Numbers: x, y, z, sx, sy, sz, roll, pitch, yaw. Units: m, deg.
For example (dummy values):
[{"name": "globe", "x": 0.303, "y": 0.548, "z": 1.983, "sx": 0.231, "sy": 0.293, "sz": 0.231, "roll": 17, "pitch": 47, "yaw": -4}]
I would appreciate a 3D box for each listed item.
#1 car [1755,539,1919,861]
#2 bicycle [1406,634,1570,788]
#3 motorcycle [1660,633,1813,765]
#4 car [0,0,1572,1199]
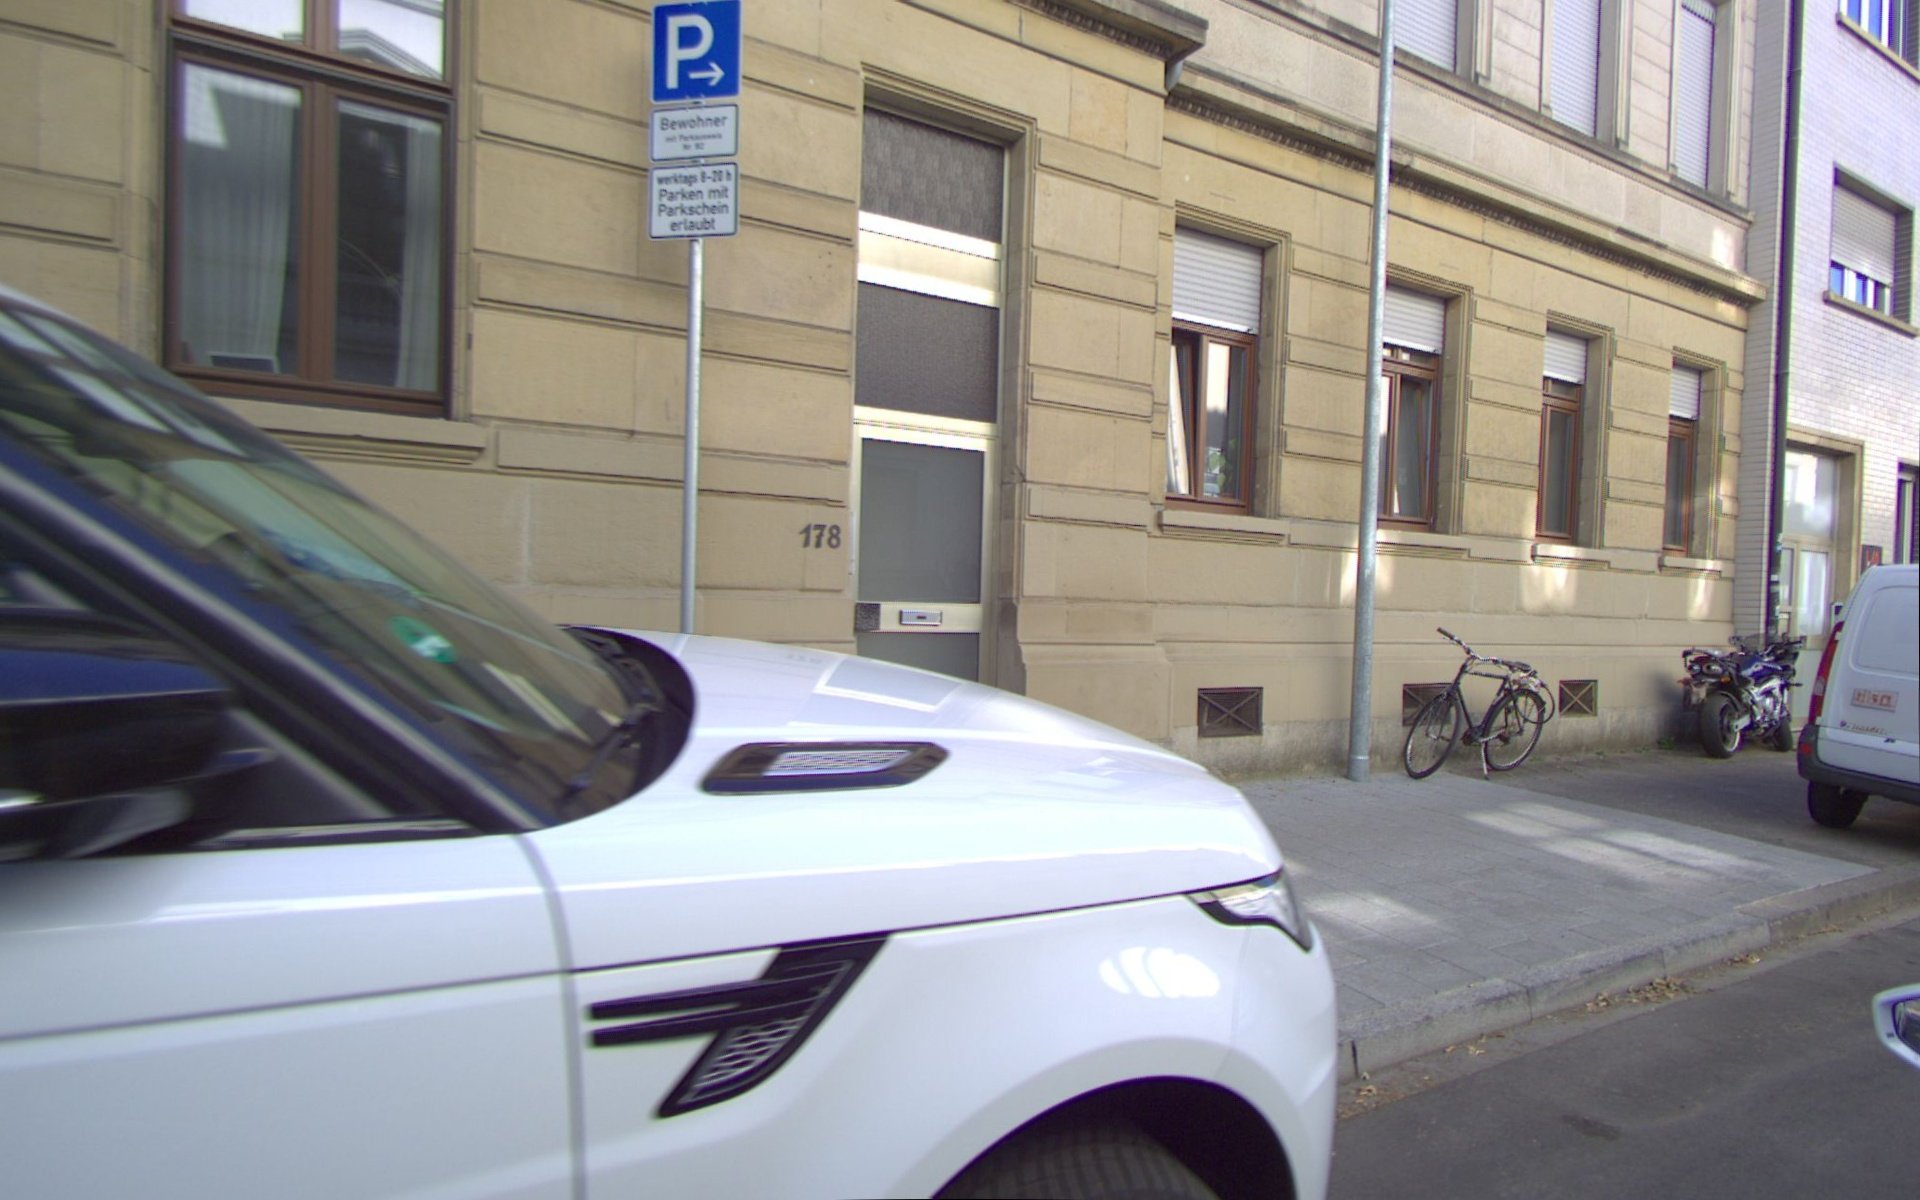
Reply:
[{"name": "car", "x": 7.533, "y": 0.646, "z": 6.911, "sx": 4.041, "sy": 1.902, "sz": 1.736, "roll": 1, "pitch": 4, "yaw": -30}, {"name": "bicycle", "x": 4.299, "y": 0.866, "z": 8.148, "sx": 1.491, "sy": 1.140, "sz": 0.430, "roll": 2, "pitch": 1, "yaw": -30}, {"name": "motorcycle", "x": 7.788, "y": 0.953, "z": 10.039, "sx": 2.096, "sy": 1.201, "sz": 0.430, "roll": 2, "pitch": 1, "yaw": -31}, {"name": "car", "x": -1.462, "y": 0.432, "z": 1.410, "sx": 4.488, "sy": 2.040, "sz": 2.013, "roll": 2, "pitch": 0, "yaw": -29}]
